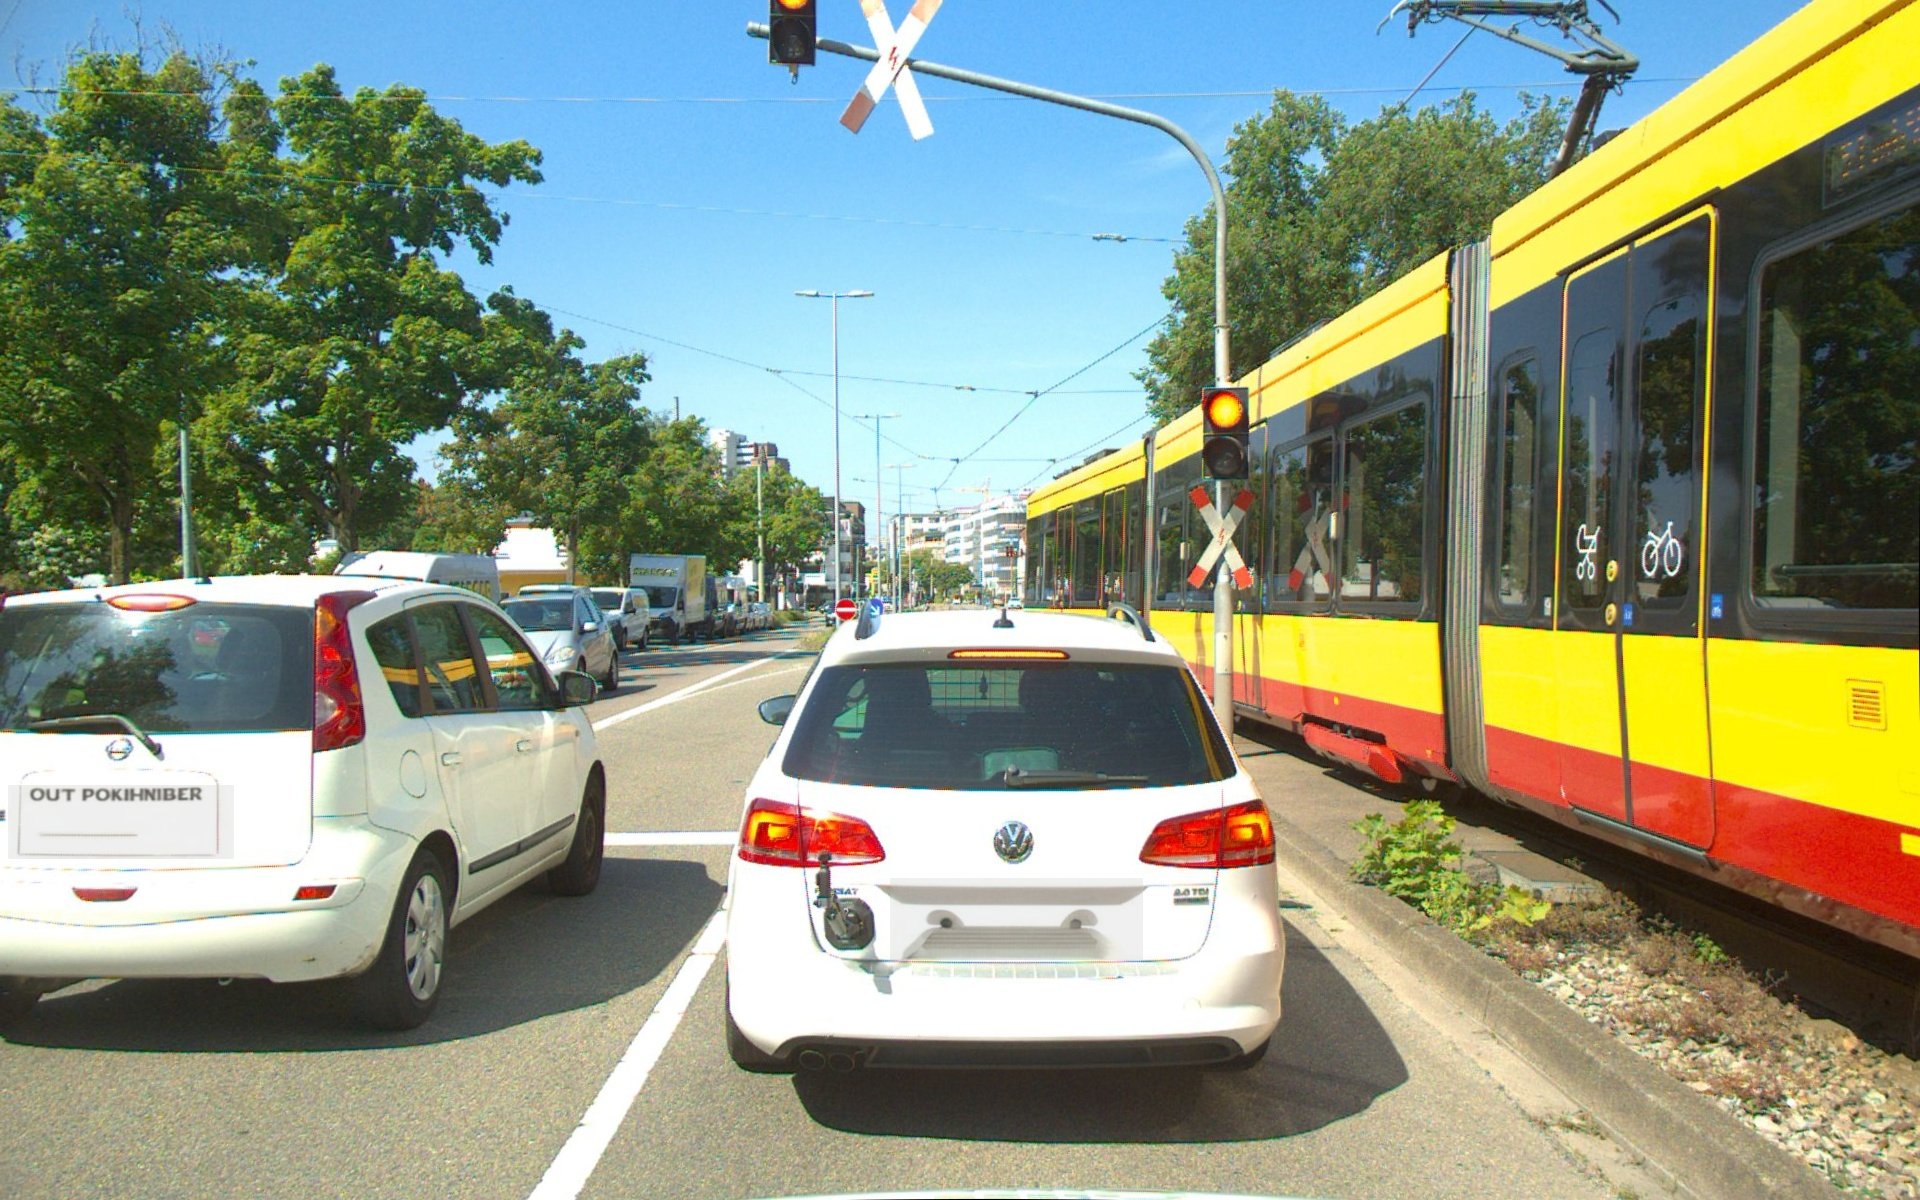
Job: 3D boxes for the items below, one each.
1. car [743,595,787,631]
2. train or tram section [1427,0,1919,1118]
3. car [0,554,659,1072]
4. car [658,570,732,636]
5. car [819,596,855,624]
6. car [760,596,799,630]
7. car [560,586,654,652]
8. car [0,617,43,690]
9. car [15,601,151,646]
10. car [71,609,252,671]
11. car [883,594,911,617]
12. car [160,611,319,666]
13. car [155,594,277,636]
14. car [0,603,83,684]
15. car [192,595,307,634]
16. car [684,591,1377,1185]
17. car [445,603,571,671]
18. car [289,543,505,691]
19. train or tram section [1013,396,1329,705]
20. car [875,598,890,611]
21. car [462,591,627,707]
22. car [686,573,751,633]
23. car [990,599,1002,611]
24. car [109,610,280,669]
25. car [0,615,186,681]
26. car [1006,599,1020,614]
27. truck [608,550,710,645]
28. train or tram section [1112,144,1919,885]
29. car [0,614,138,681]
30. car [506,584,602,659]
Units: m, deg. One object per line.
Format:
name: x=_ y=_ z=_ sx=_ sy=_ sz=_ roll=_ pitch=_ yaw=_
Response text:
car: x=-10.751 y=0.680 z=91.511 sx=1.826 sy=1.900 sz=5.412 roll=1 pitch=0 yaw=-1
train or tram section: x=4.056 y=-0.546 z=2.766 sx=2.812 sy=3.923 sz=12.389 roll=-1 pitch=0 yaw=-1
car: x=-2.566 y=0.638 z=7.309 sx=1.628 sy=1.575 sz=4.546 roll=0 pitch=0 yaw=0
car: x=-10.873 y=0.091 z=68.151 sx=2.079 sy=2.560 sz=5.733 roll=1 pitch=0 yaw=0
car: x=-7.063 y=0.563 z=95.186 sx=1.670 sy=1.499 sz=4.589 roll=-1 pitch=0 yaw=0
car: x=-10.698 y=0.745 z=98.428 sx=1.826 sy=1.900 sz=5.412 roll=1 pitch=0 yaw=-1
car: x=-10.962 y=0.548 z=51.727 sx=1.826 sy=1.900 sz=5.412 roll=1 pitch=0 yaw=-1
car: x=-20.731 y=1.136 z=32.928 sx=3.909 sy=1.440 sz=1.728 roll=-2 pitch=0 yaw=-5
car: x=-37.805 y=1.009 z=71.383 sx=4.698 sy=1.819 sz=2.062 roll=1 pitch=0 yaw=-5
car: x=-21.112 y=1.043 z=43.850 sx=3.909 sy=1.440 sz=1.728 roll=-2 pitch=0 yaw=-5
car: x=-4.264 y=0.356 z=112.631 sx=1.670 sy=1.499 sz=4.589 roll=-1 pitch=0 yaw=0
car: x=-21.273 y=1.121 z=48.933 sx=3.909 sy=1.440 sz=1.728 roll=-2 pitch=0 yaw=-5
car: x=-34.369 y=0.695 z=76.510 sx=4.698 sy=1.819 sz=2.062 roll=1 pitch=0 yaw=-5
car: x=-21.075 y=0.977 z=35.122 sx=3.909 sy=1.638 sz=1.728 roll=-2 pitch=0 yaw=-5
car: x=-34.889 y=0.708 z=81.306 sx=4.698 sy=1.819 sz=2.062 roll=1 pitch=0 yaw=-5
car: x=0.153 y=0.716 z=6.189 sx=1.726 sy=1.455 sz=3.999 roll=-1 pitch=0 yaw=-1
car: x=-10.468 y=0.819 z=38.610 sx=1.826 sy=1.440 sz=4.278 roll=1 pitch=0 yaw=-1
car: x=-10.744 y=0.289 z=32.132 sx=2.079 sy=2.560 sz=5.817 roll=1 pitch=0 yaw=1
train or tram section: x=2.890 y=-0.670 z=26.501 sx=2.814 sy=3.923 sz=10.527 roll=-1 pitch=0 yaw=-5
car: x=-9.903 y=0.554 z=211.968 sx=1.670 sy=1.499 sz=4.589 roll=-1 pitch=0 yaw=0
car: x=-6.315 y=0.689 z=25.475 sx=1.642 sy=1.580 sz=3.579 roll=-3 pitch=0 yaw=-1
car: x=-10.979 y=0.125 z=75.586 sx=2.079 sy=2.560 sz=5.733 roll=1 pitch=0 yaw=0
car: x=5.598 y=0.823 z=258.811 sx=1.640 sy=1.896 sz=3.730 roll=1 pitch=0 yaw=-1
car: x=-21.285 y=1.075 z=46.115 sx=3.909 sy=1.440 sz=1.728 roll=-2 pitch=0 yaw=-5
car: x=-21.686 y=1.182 z=41.250 sx=3.909 sy=1.440 sz=1.728 roll=-2 pitch=0 yaw=-5
car: x=6.876 y=0.817 z=215.885 sx=1.575 sy=1.896 sz=3.730 roll=1 pitch=0 yaw=-1
truck: x=-10.826 y=-0.088 z=60.153 sx=2.371 sy=3.205 sz=6.996 roll=1 pitch=0 yaw=0
train or tram section: x=3.696 y=-0.506 z=15.058 sx=2.813 sy=3.923 sz=12.384 roll=-1 pitch=0 yaw=-3
car: x=-21.615 y=1.131 z=38.639 sx=3.909 sy=1.440 sz=1.728 roll=-2 pitch=0 yaw=-5
car: x=-11.000 y=0.548 z=45.140 sx=1.827 sy=1.900 sz=5.068 roll=1 pitch=0 yaw=-6
